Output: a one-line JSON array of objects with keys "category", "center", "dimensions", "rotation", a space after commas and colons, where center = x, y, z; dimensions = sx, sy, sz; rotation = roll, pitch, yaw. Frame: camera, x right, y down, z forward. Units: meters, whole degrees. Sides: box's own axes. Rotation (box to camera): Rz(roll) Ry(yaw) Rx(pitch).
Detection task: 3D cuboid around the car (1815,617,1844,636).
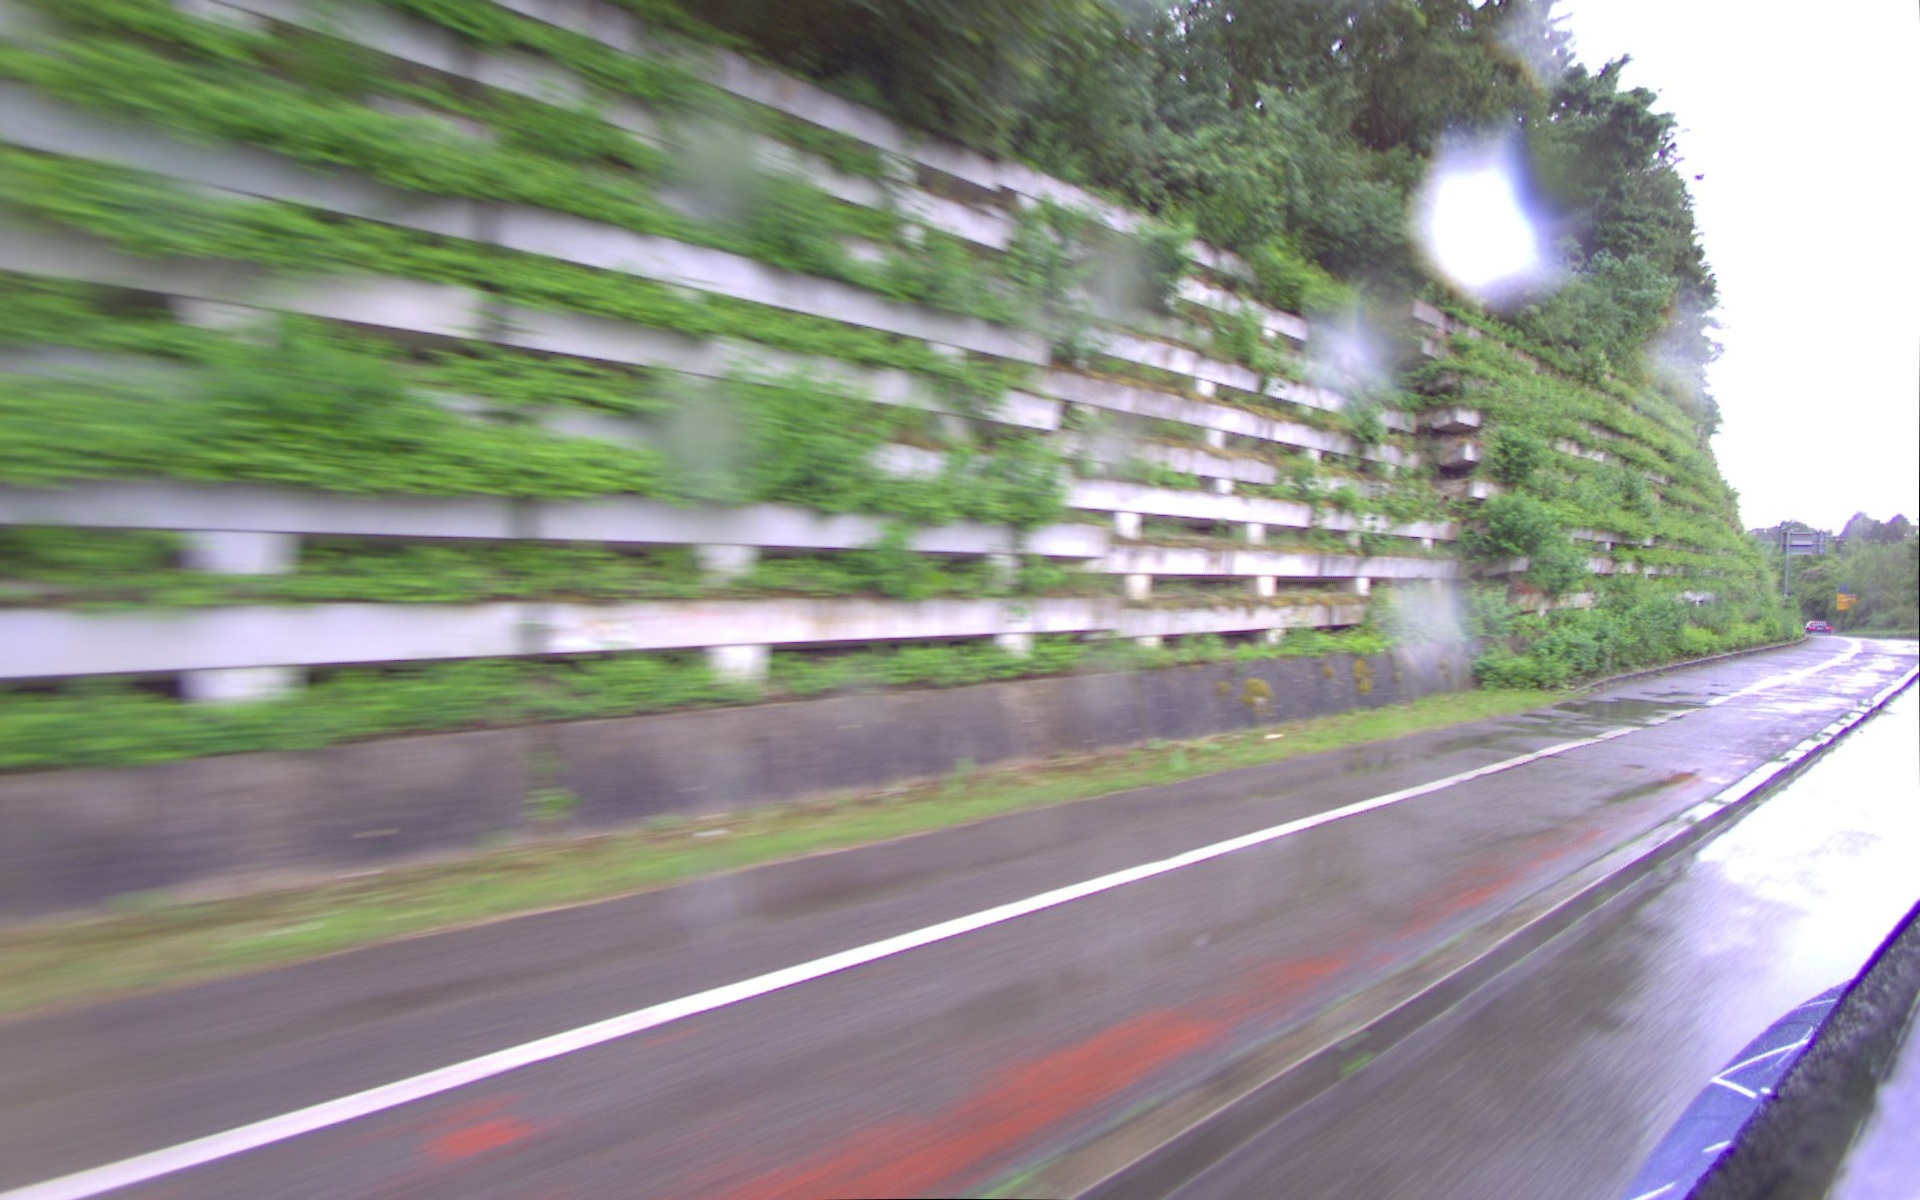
[{"category": "car", "center": [84.362, 2.548, 98.230], "dimensions": [1.794, 1.656, 3.946], "rotation": [4, 2, 37]}]
